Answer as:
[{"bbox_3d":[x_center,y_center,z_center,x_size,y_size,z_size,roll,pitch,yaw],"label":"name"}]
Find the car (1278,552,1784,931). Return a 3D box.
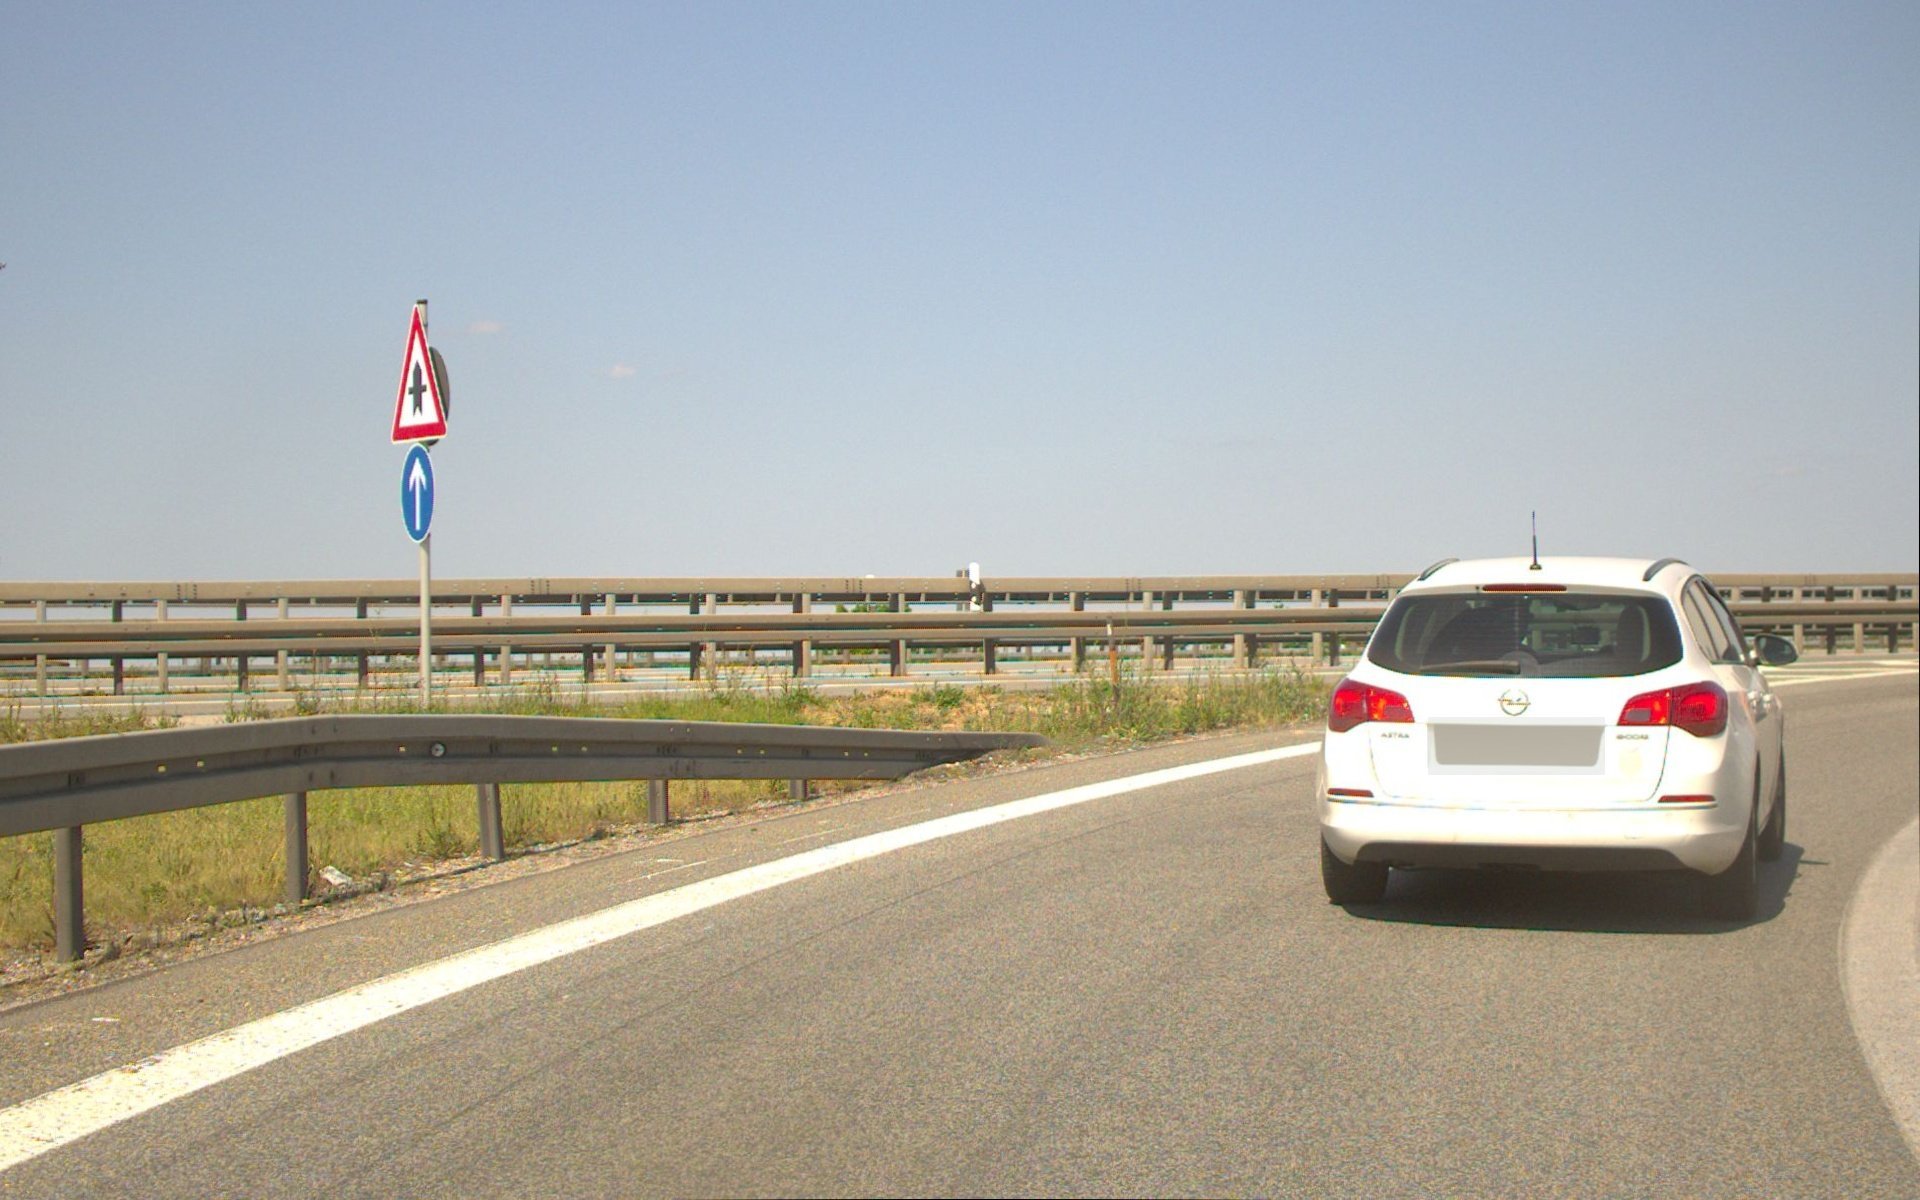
[{"bbox_3d":[2.697,0.542,15.404,1.855,1.438,4.369,0,0,15],"label":"car"}]
